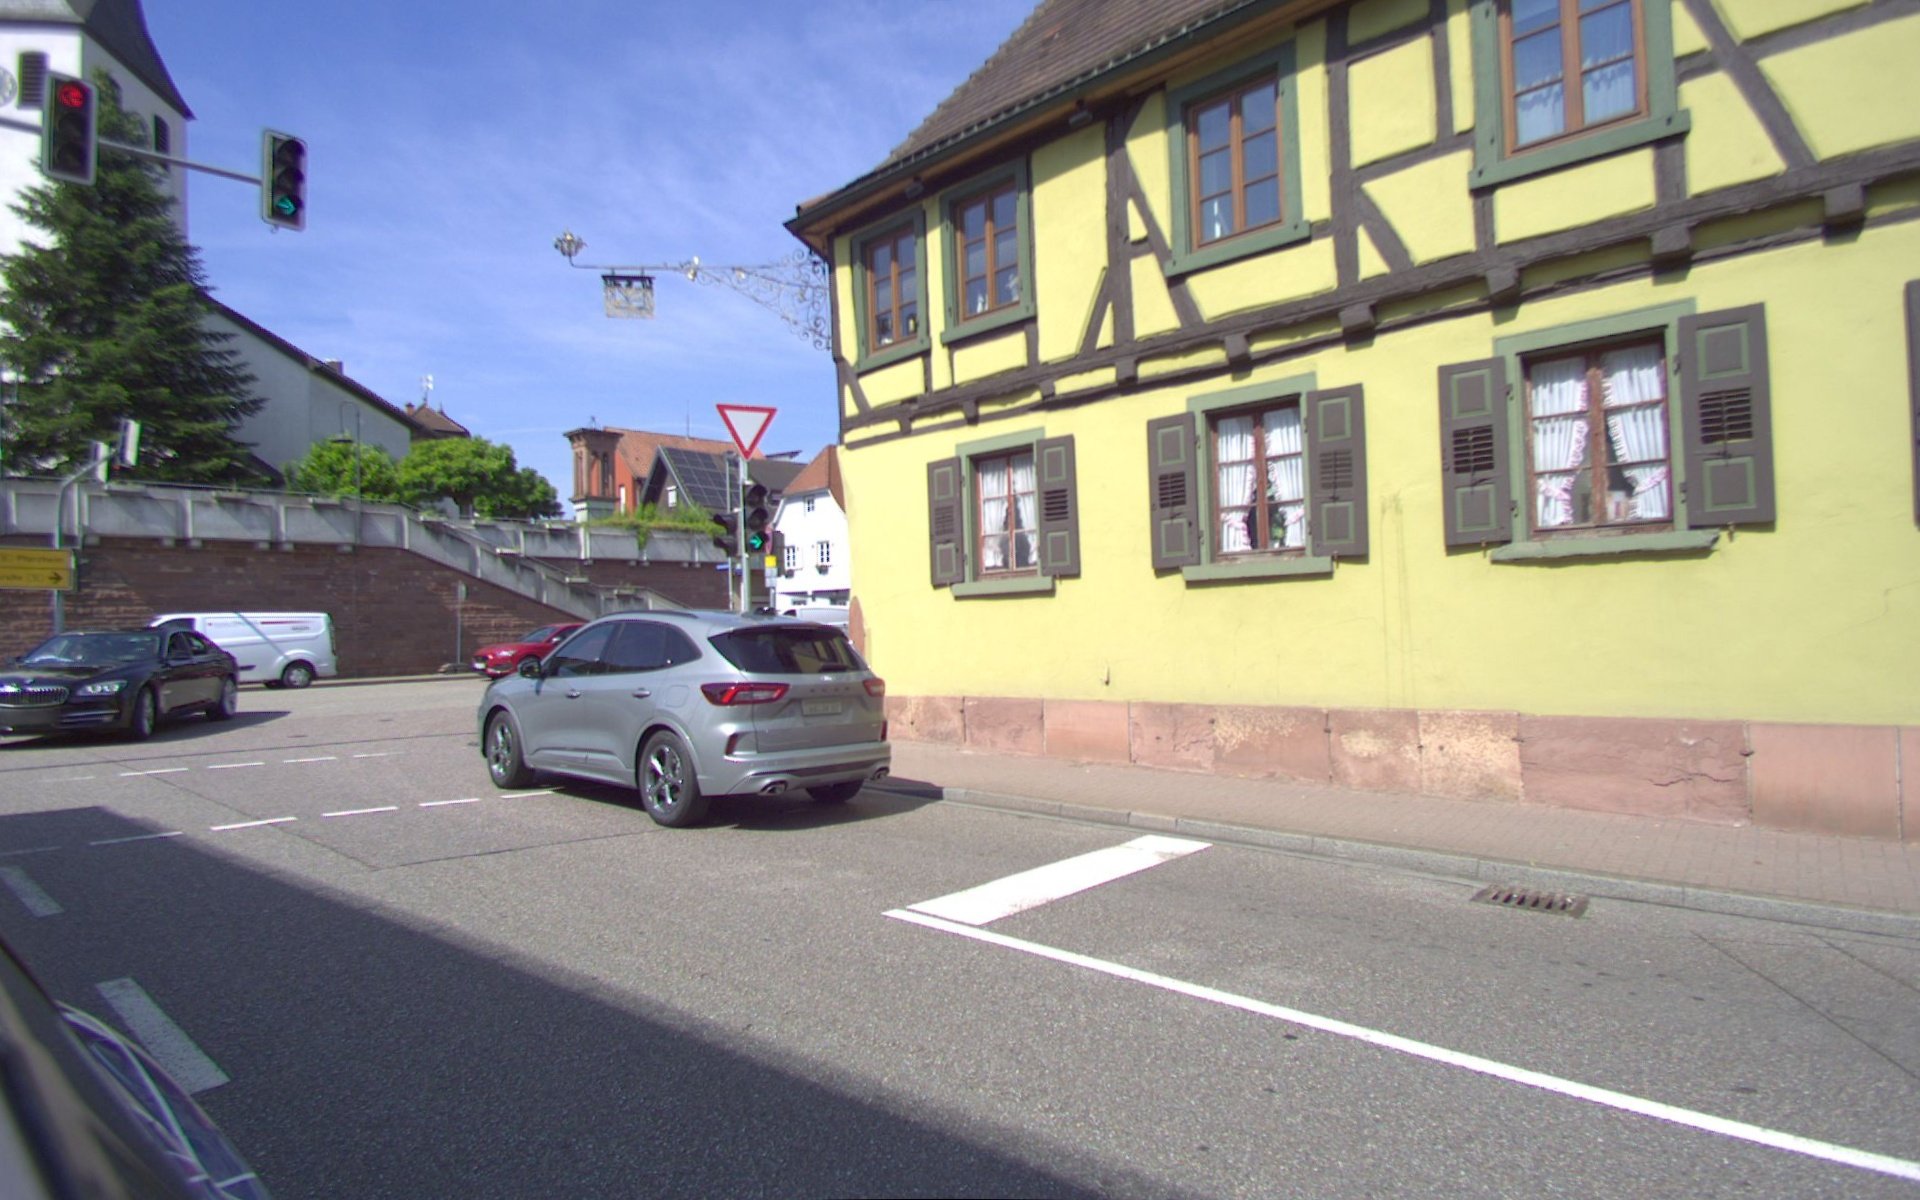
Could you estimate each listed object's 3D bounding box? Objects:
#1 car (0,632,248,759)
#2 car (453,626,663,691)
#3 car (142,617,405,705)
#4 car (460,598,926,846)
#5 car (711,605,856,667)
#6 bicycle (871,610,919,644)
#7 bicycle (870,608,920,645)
[{"bbox_3d":[-11.480,1.181,13.824,1.795,1.445,4.262,0,-2,-20],"label":"car"},{"bbox_3d":[-10.816,1.519,27.542,2.164,1.527,4.882,-2,-1,40],"label":"car"},{"bbox_3d":[-17.329,1.480,25.788,2.143,1.982,5.204,-4,-3,42],"label":"car"},{"bbox_3d":[-2.493,0.903,8.769,4.427,1.622,1.737,-2,-4,42],"label":"car"},{"bbox_3d":[-5.830,1.157,34.012,1.823,1.921,4.903,-3,-2,36],"label":"car"},{"bbox_3d":[-3.152,1.314,49.489,2.523,1.619,0.560,1,-1,-42],"label":"bicycle"},{"bbox_3d":[-3.220,1.293,50.320,2.629,1.792,0.644,1,-1,-42],"label":"bicycle"}]
